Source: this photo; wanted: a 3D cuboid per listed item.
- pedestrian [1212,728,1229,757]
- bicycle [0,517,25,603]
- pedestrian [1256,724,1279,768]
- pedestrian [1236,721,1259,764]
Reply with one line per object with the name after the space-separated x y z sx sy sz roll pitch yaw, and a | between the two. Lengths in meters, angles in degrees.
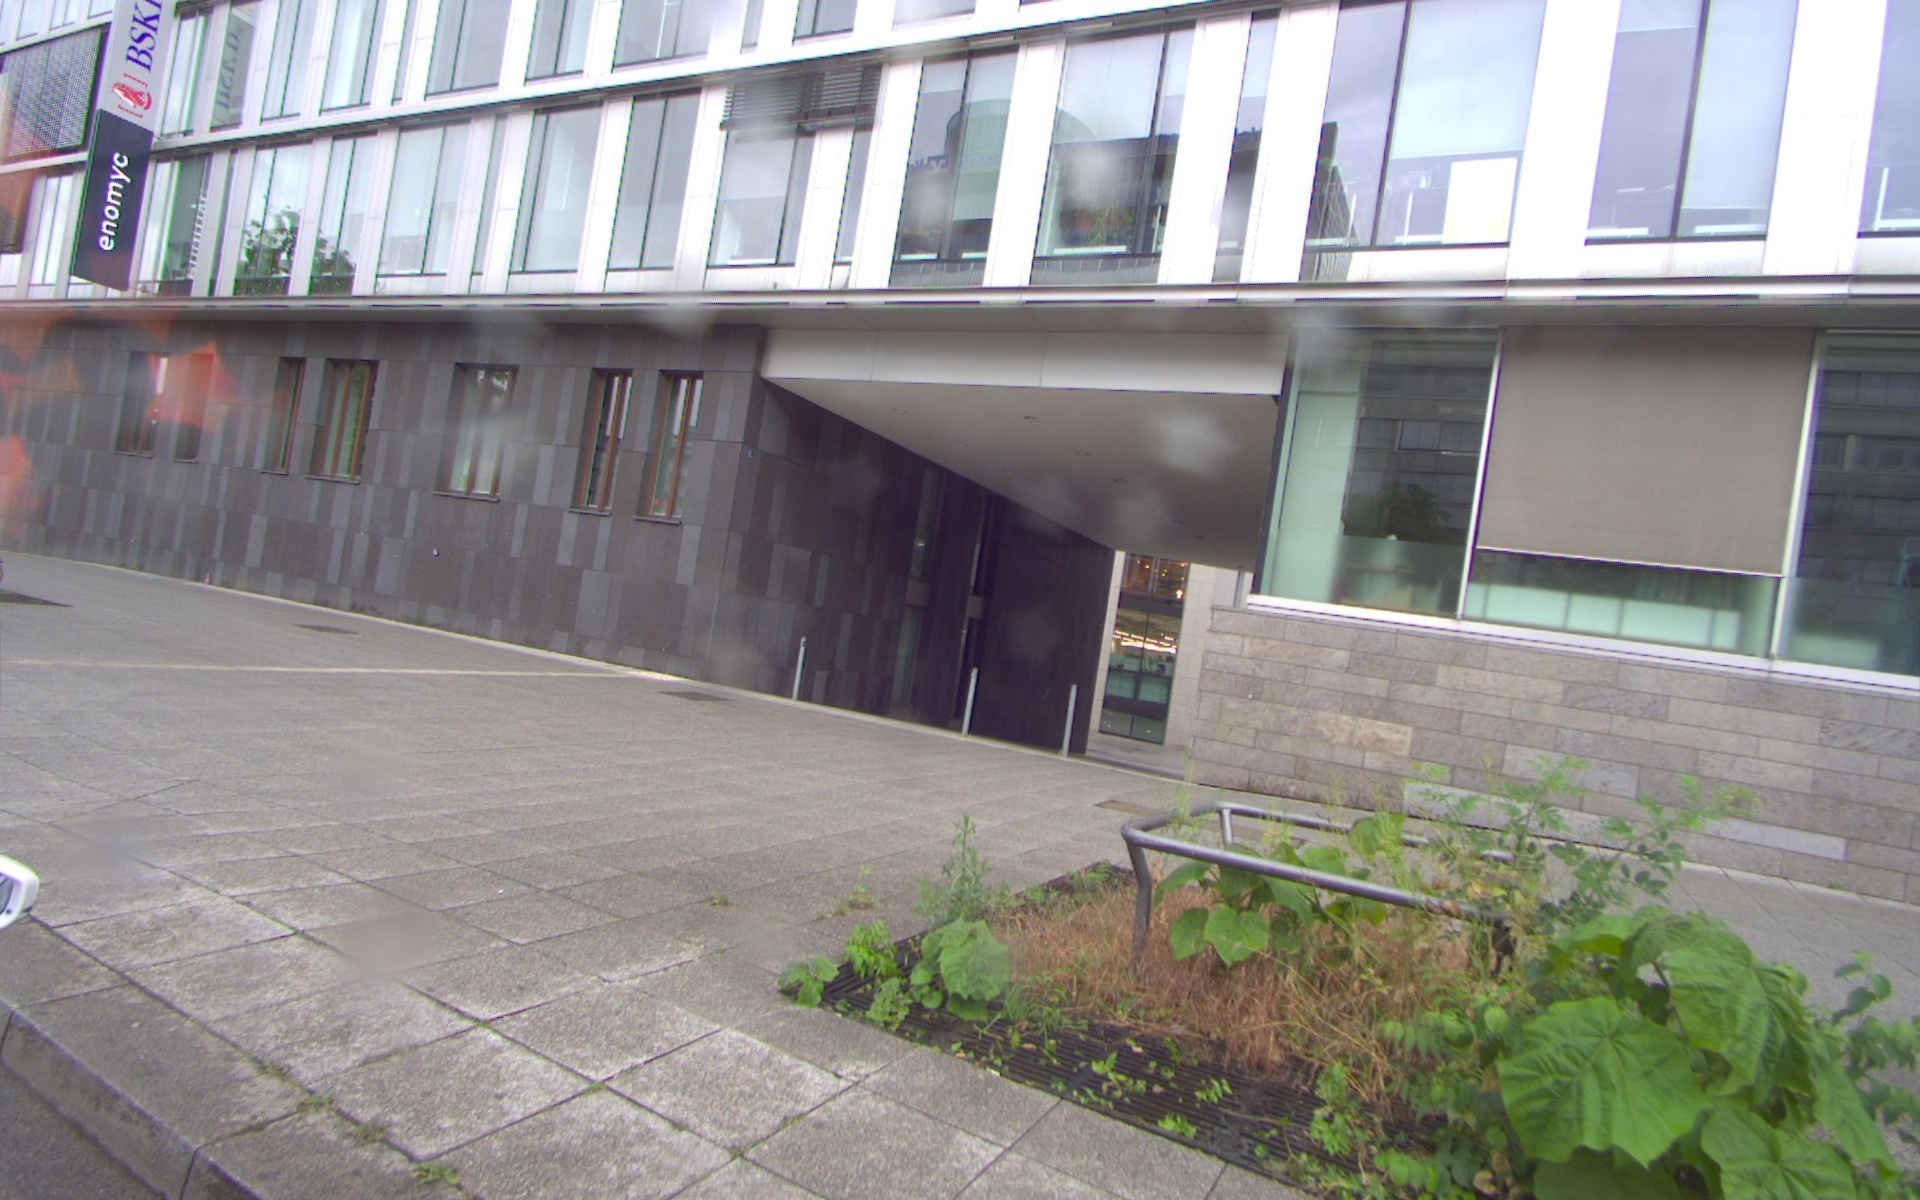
11.954 6.546 46.177 0.556 1.256 0.463 7 -3 24 | pedestrian
-12.936 -0.607 12.492 0.676 1.082 1.736 7 -1 22 | bicycle
13.419 6.359 43.842 0.689 1.795 0.593 7 -3 24 | pedestrian
12.683 6.283 44.312 0.689 1.795 0.593 7 -3 24 | pedestrian
